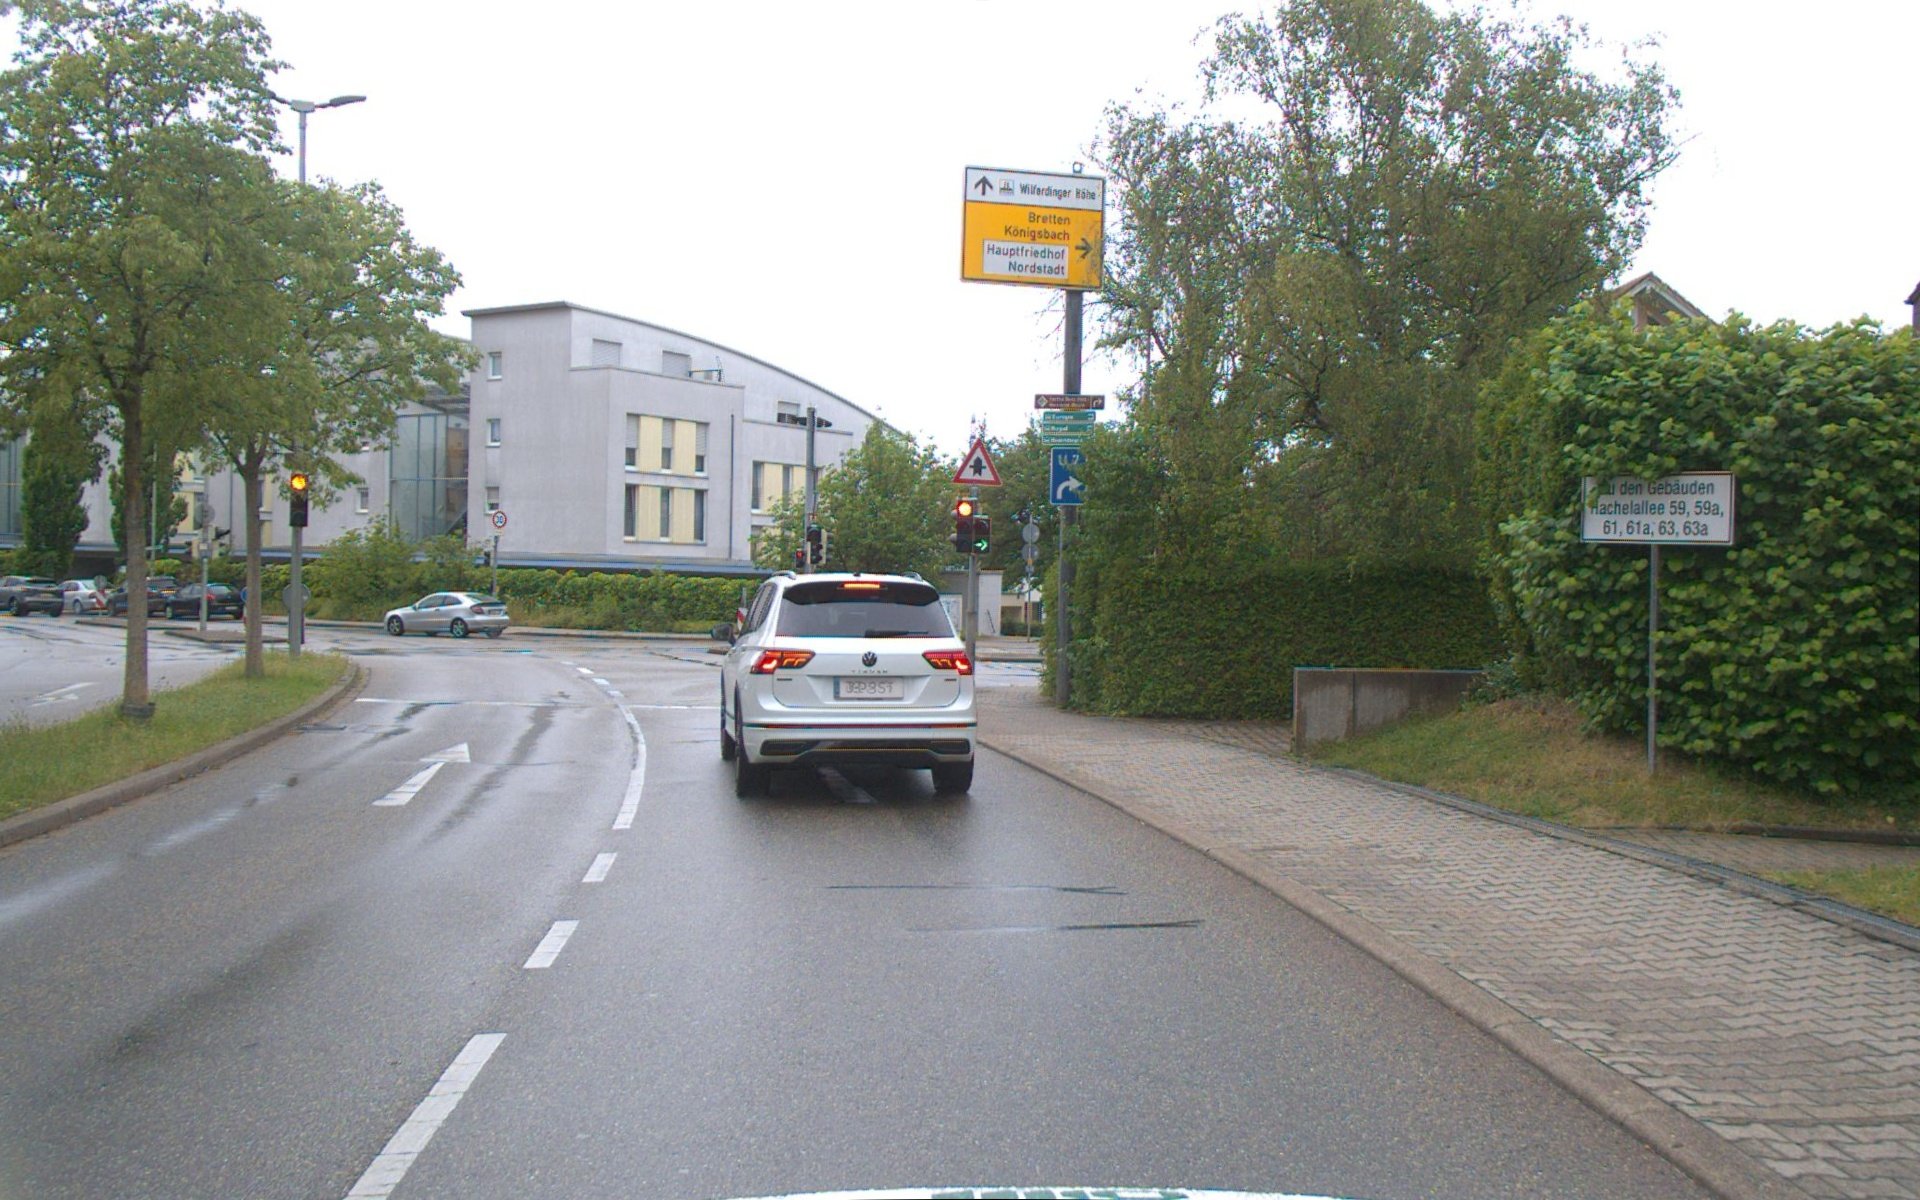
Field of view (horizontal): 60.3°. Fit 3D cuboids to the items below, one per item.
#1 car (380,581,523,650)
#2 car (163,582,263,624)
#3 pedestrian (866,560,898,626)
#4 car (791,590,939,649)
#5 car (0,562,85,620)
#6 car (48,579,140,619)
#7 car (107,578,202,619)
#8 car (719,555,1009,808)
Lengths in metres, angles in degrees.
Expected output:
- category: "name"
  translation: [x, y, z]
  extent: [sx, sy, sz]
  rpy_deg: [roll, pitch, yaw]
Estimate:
- category: "car"
  translation: [-16.008, 0.456, 52.095]
  extent: [3.909, 1.788, 1.999]
  rpy_deg: [5, 3, 25]
- category: "car"
  translation: [-30.097, 0.093, 66.623]
  extent: [3.920, 1.582, 1.993]
  rpy_deg: [2, 2, 36]
- category: "pedestrian"
  translation: [-2.479, -0.231, 52.752]
  extent: [0.782, 2.048, 0.850]
  rpy_deg: [2, 2, 11]
- category: "car"
  translation: [-2.745, 0.551, 48.321]
  extent: [3.902, 1.582, 2.002]
  rpy_deg: [1, 1, 12]
- category: "car"
  translation: [-37.852, -0.397, 67.587]
  extent: [3.918, 2.048, 1.975]
  rpy_deg: [6, 3, 33]
- category: "car"
  translation: [-37.655, -0.036, 71.900]
  extent: [3.920, 1.582, 1.992]
  rpy_deg: [3, 1, 36]
- category: "car"
  translation: [-33.720, -0.074, 69.204]
  extent: [3.920, 1.582, 1.993]
  rpy_deg: [2, 2, 36]
- category: "car"
  translation: [-0.962, 0.585, 13.698]
  extent: [1.886, 1.752, 4.254]
  rpy_deg: [1, 0, -10]
